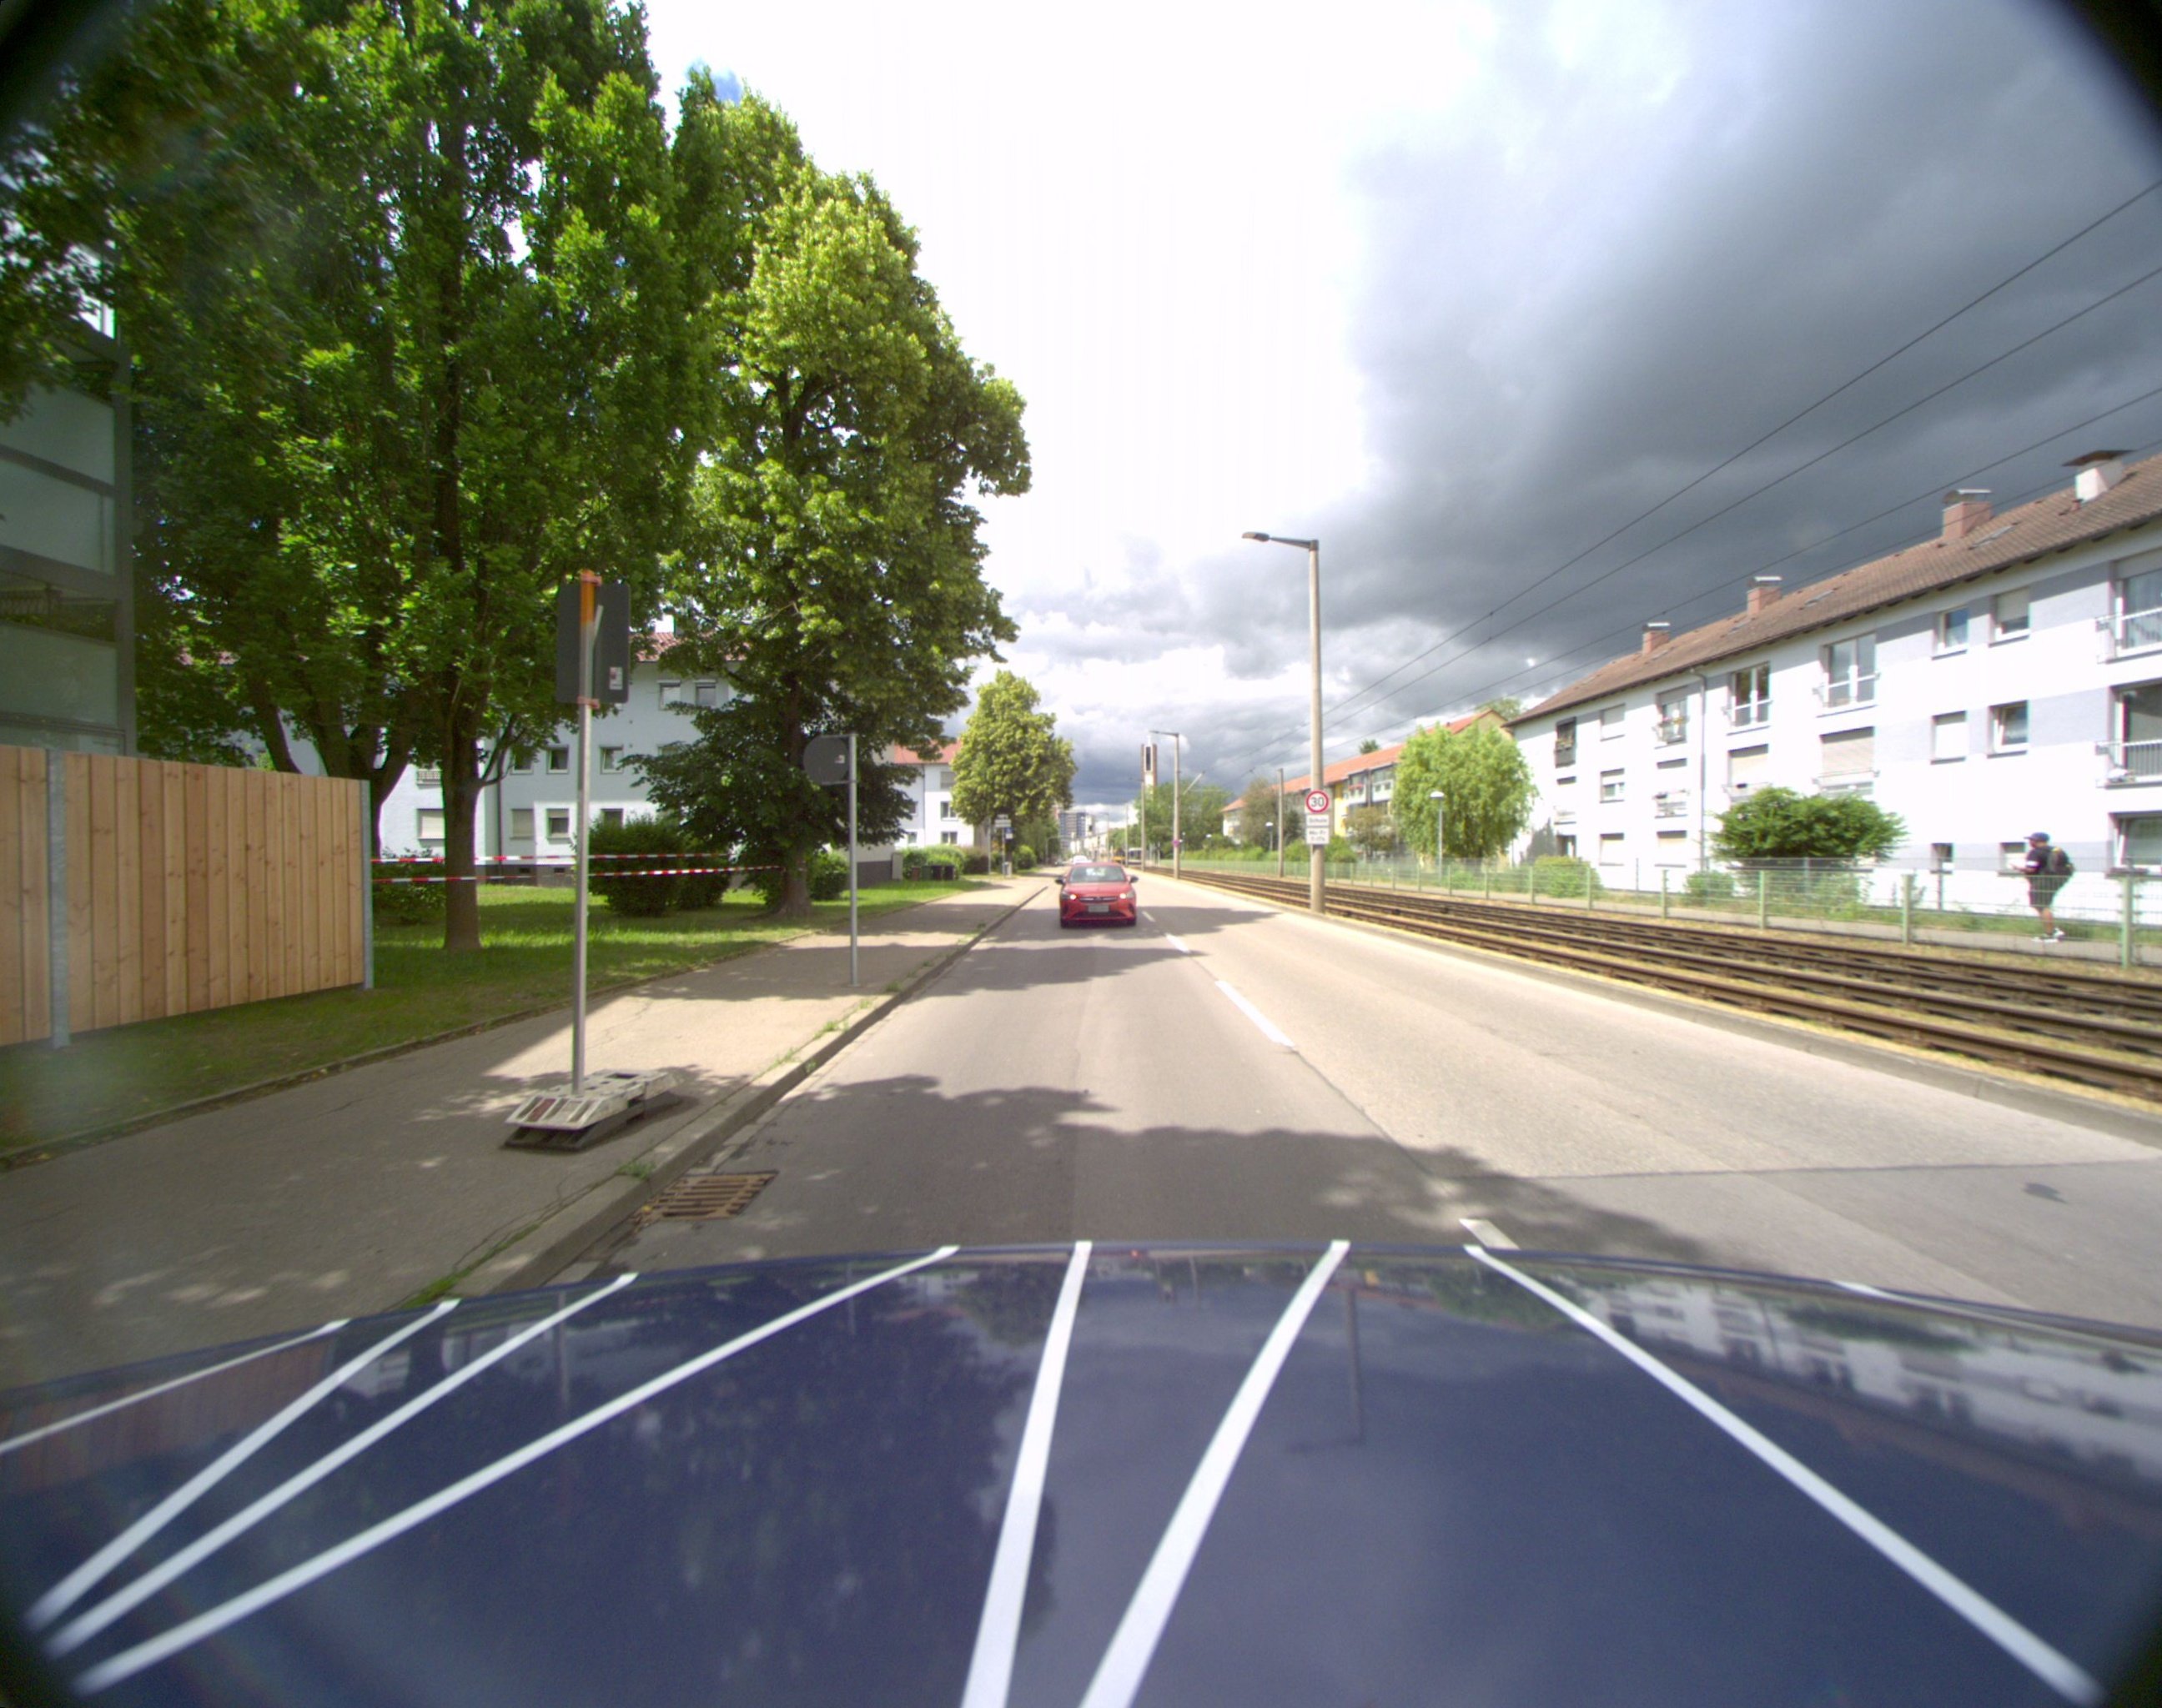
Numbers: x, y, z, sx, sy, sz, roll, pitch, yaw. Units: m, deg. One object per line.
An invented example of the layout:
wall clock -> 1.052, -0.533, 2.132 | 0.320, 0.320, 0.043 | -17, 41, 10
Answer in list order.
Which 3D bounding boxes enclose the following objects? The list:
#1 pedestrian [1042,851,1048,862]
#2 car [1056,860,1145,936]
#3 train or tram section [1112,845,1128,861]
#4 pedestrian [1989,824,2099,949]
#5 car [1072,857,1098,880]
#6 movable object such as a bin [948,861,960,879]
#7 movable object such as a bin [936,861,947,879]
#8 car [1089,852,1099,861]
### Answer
pedestrian -> -6.015, 0.416, 127.983 | 0.811, 1.761, 0.817 | 2, 1, 5
car -> 0.414, 0.899, 17.389 | 1.756, 1.433, 4.226 | -1, 0, 1
train or tram section -> 10.175, -0.317, 199.905 | 2.988, 3.840, 18.535 | -2, 0, -1
pedestrian -> 14.723, 0.484, 11.639 | 0.661, 1.838, 0.768 | 1, 1, 0
car -> 0.301, 0.993, 53.075 | 1.756, 1.433, 4.226 | -1, 0, 1
movable object such as a bin -> -6.846, 0.856, 40.927 | 0.497, 0.949, 0.580 | 1, 1, 0
movable object such as a bin -> -7.504, 0.856, 40.844 | 0.501, 0.941, 0.551 | 1, 1, 0
car -> 2.262, 0.410, 131.391 | 1.628, 1.516, 3.581 | -1, 0, 0
